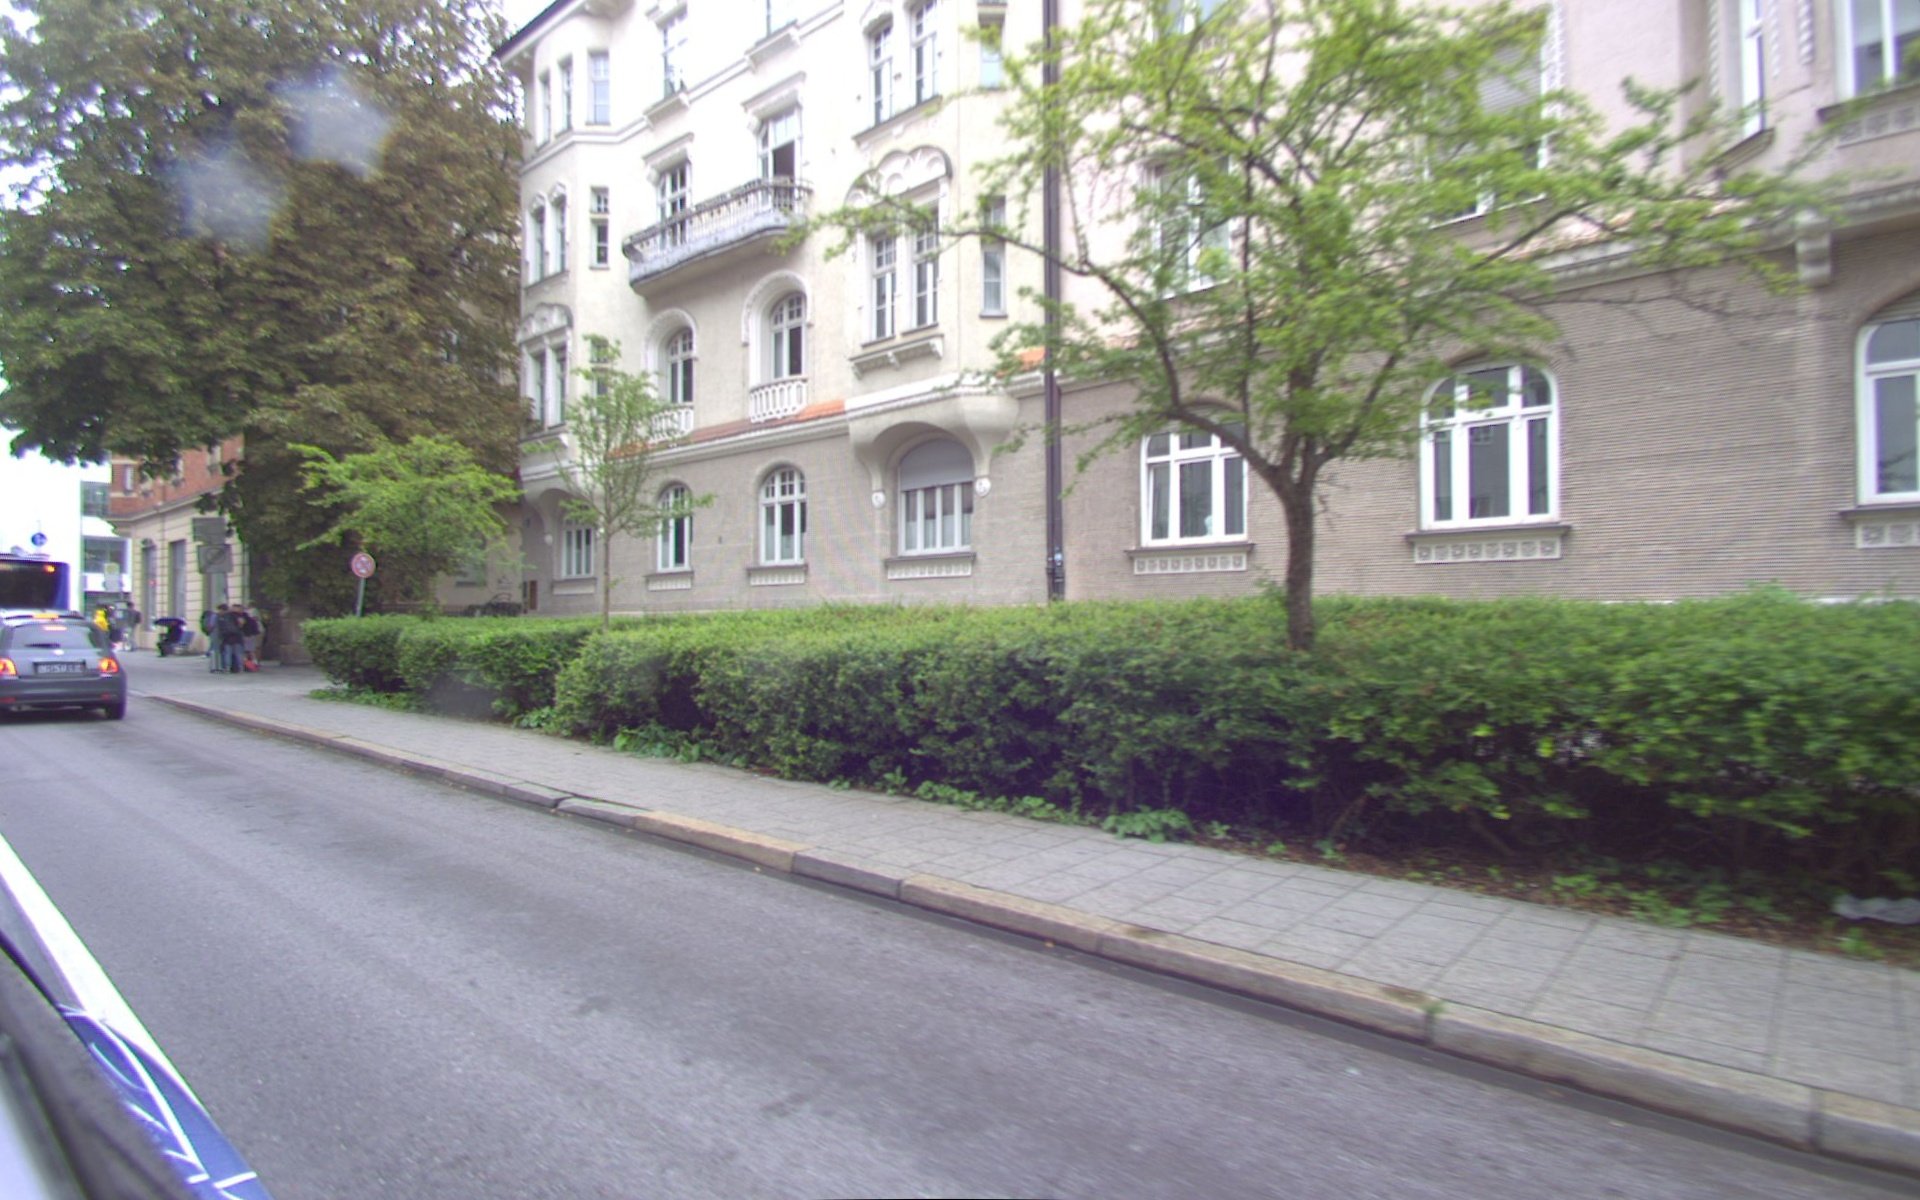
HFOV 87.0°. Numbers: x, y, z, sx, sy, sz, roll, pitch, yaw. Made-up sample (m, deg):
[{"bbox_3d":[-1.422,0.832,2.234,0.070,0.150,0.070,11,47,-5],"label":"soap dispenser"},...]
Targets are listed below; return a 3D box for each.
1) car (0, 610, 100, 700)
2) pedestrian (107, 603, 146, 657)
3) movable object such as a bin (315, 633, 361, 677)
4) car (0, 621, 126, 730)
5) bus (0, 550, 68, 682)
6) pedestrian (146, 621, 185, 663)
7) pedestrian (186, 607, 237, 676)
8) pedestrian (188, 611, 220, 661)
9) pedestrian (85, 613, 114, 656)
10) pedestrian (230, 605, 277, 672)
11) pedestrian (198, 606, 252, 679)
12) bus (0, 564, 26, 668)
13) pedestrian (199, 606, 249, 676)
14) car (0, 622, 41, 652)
[{"bbox_3d":[-18.961,1.059,20.497,4.272,1.657,1.749,-1,-2,42],"label":"car"},{"bbox_3d":[-31.299,1.117,38.031,0.769,2.029,0.831,0,-1,-1],"label":"pedestrian"},{"bbox_3d":[-15.811,1.383,25.717,0.622,1.095,0.804,-1,-1,32],"label":"movable object such as a bin"},{"bbox_3d":[-14.120,1.071,15.447,3.781,1.490,1.567,-1,-2,42],"label":"car"},{"bbox_3d":[-26.058,0.454,26.889,8.922,3.124,2.551,-1,-2,43],"label":"bus"},{"bbox_3d":[-25.672,1.347,32.687,0.753,1.351,0.820,-1,-2,39],"label":"pedestrian"},{"bbox_3d":[-19.579,1.064,26.480,0.910,1.758,0.864,-1,-2,41],"label":"pedestrian"},{"bbox_3d":[-23.579,1.114,31.569,0.753,1.550,0.618,-1,-2,40],"label":"pedestrian"},{"bbox_3d":[-40.932,1.642,48.161,0.938,2.029,1.399,1,-2,-38],"label":"pedestrian"},{"bbox_3d":[-19.037,1.037,27.301,0.773,1.758,0.878,1,-2,-16],"label":"pedestrian"},{"bbox_3d":[-18.336,1.052,25.245,0.846,1.758,0.898,-1,-2,41],"label":"pedestrian"},{"bbox_3d":[-32.655,0.537,32.904,9.106,3.124,2.551,-1,-2,43],"label":"bus"},{"bbox_3d":[-18.869,1.048,25.942,0.786,1.758,0.864,-1,-2,41],"label":"pedestrian"},{"bbox_3d":[-46.765,1.743,48.262,1.999,1.439,4.115,-1,-2,40],"label":"car"}]
